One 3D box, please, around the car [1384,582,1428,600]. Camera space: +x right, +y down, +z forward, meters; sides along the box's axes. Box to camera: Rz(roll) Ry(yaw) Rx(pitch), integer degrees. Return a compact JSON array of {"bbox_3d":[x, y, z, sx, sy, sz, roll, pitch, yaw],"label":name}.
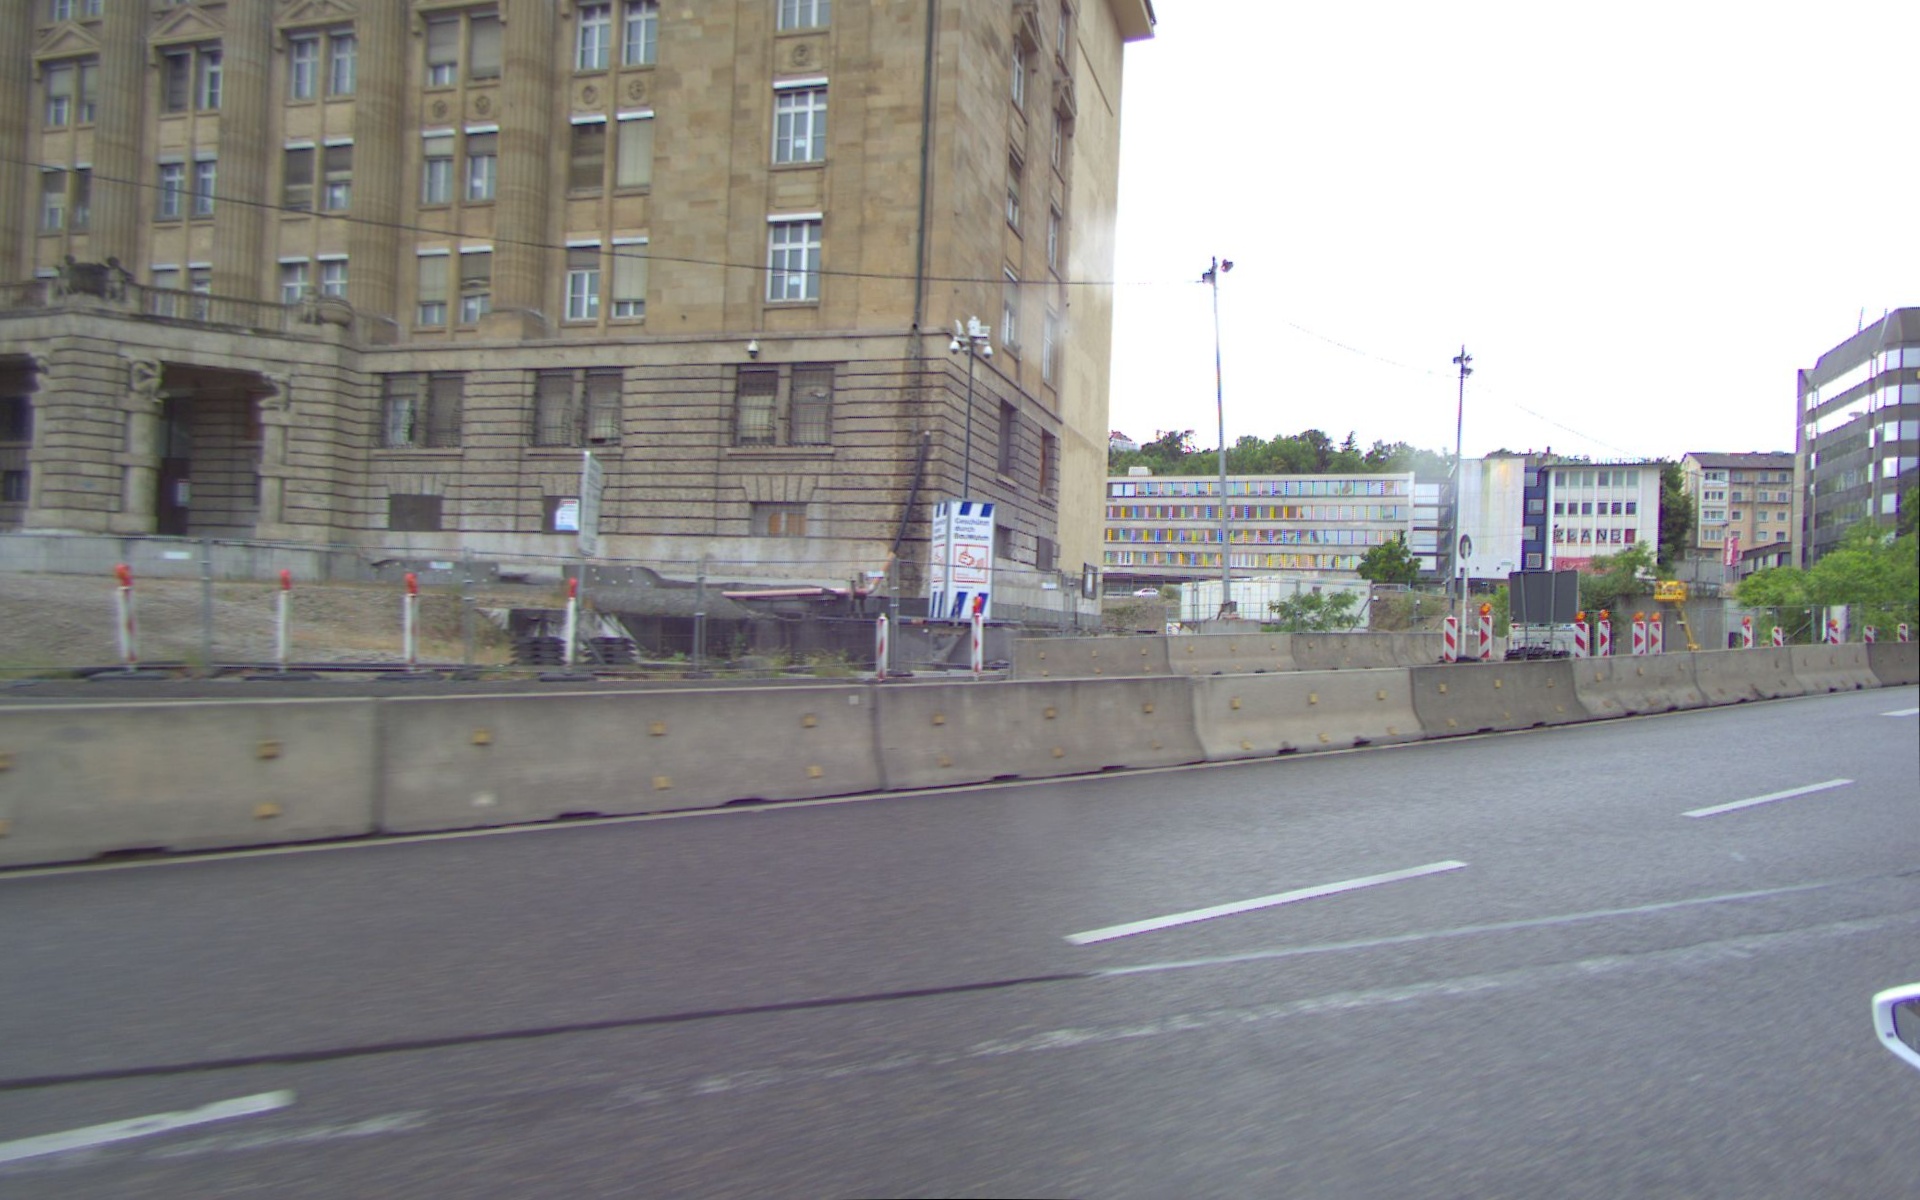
[{"bbox_3d":[45.444,-0.911,102.416,3.922,1.728,2.000,1,-1,22],"label":"car"}]
